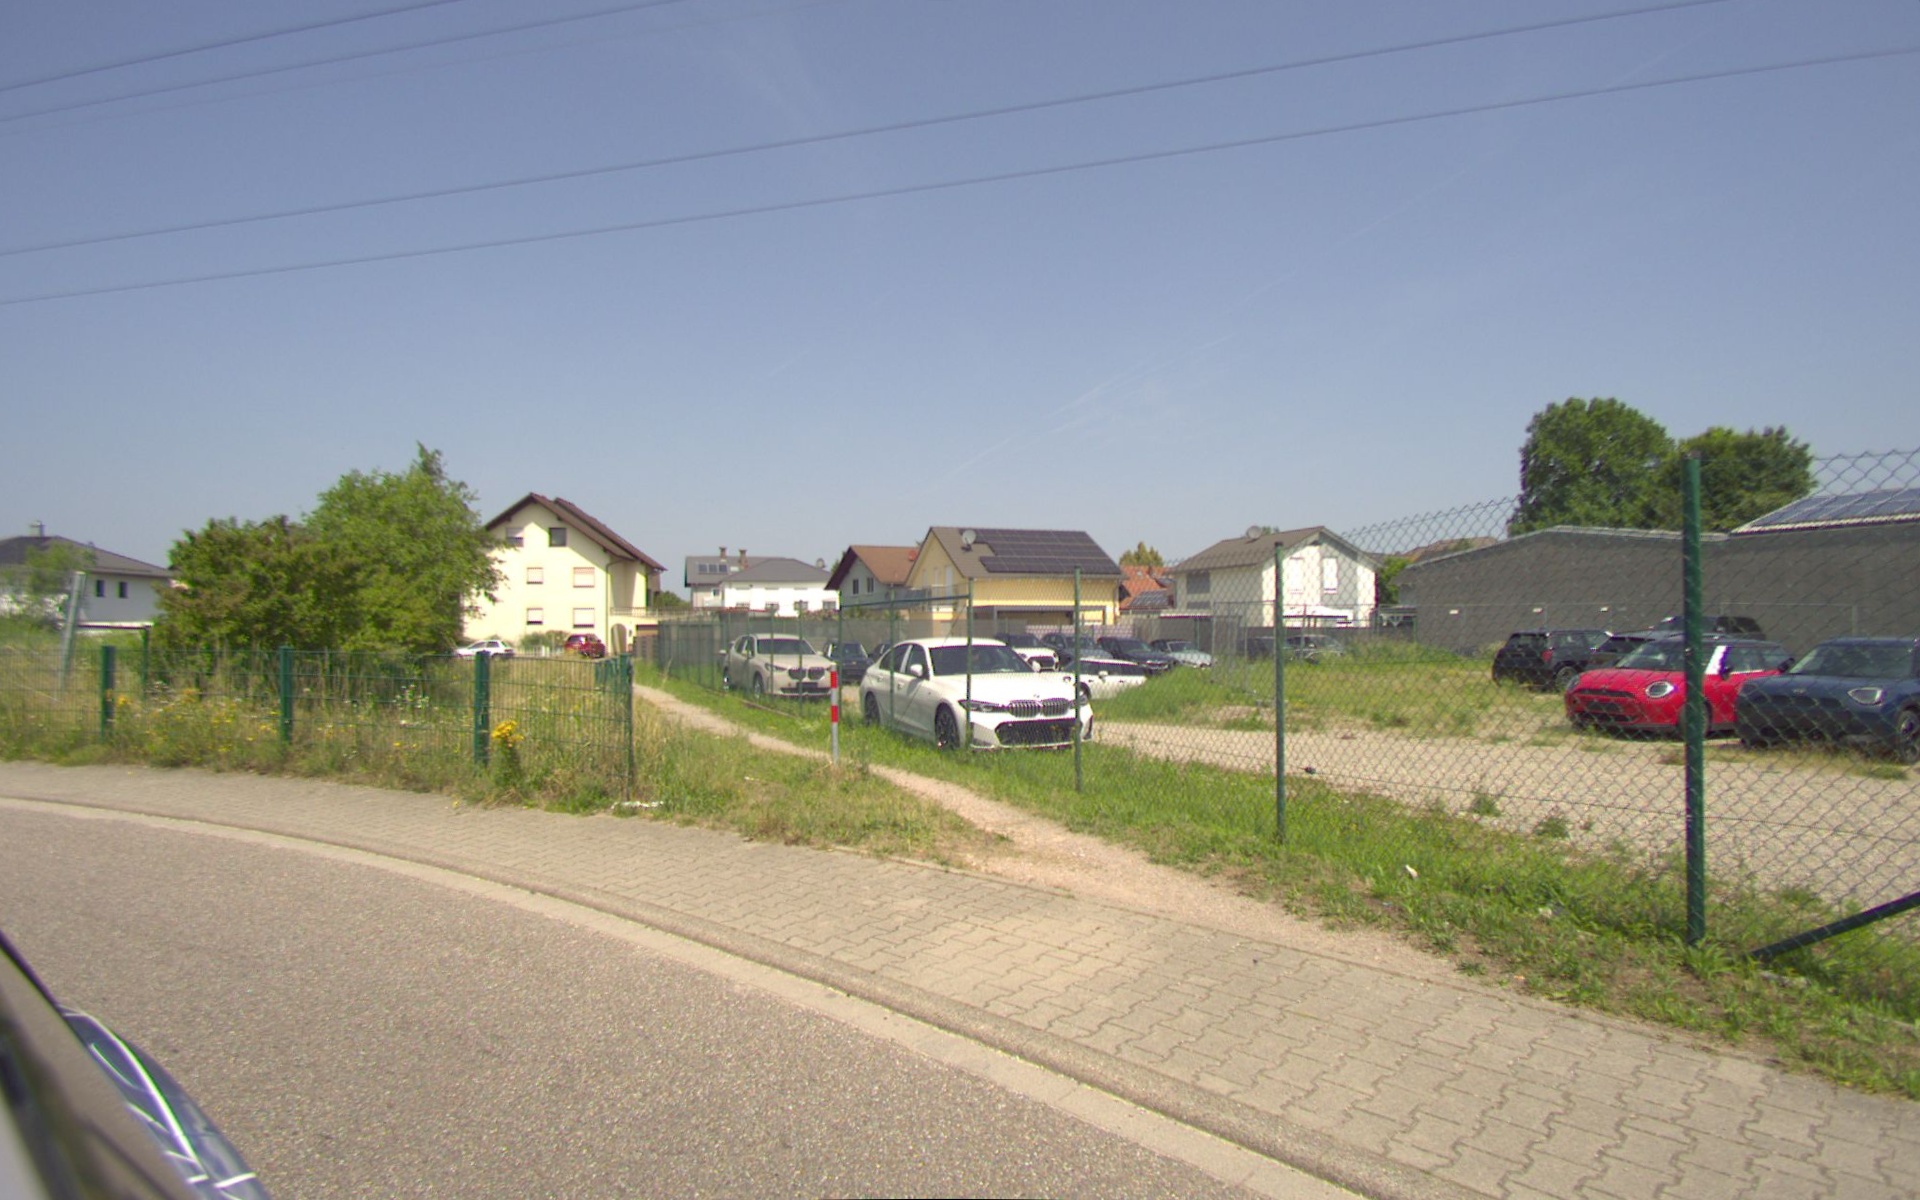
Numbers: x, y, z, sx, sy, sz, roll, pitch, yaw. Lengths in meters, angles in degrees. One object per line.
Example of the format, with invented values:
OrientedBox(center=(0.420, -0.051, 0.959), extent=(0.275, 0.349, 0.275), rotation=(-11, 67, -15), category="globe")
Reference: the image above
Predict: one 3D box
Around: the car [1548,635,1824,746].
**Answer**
OrientedBox(center=(10.848, 1.273, 15.159), extent=(3.381, 1.464, 1.875), rotation=(1, -2, -24), category="car")

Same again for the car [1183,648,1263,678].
OrientedBox(center=(12.078, 2.881, 46.676), extent=(1.763, 1.245, 3.620), rotation=(0, -2, -20), category="car")

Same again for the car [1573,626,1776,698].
OrientedBox(center=(14.231, 1.176, 20.172), extent=(3.381, 1.308, 1.875), rotation=(1, -2, -26), category="car")

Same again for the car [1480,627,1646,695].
OrientedBox(center=(13.830, 1.346, 23.191), extent=(3.382, 1.425, 1.874), rotation=(1, -2, -31), category="car")

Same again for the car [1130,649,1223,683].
OrientedBox(center=(9.064, 2.758, 42.742), extent=(1.763, 1.245, 4.148), rotation=(1, -2, -23), category="car")

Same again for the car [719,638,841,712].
OrientedBox(center=(-4.547, 1.755, 24.955), extent=(2.007, 1.574, 4.452), rotation=(1, -2, -23), category="car")

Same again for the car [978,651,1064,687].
OrientedBox(center=(2.381, 2.730, 40.492), extent=(1.763, 1.245, 4.148), rotation=(1, -2, -23), category="car")

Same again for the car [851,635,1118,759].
OrientedBox(center=(0.099, 1.153, 13.577), extent=(1.836, 1.317, 4.577), rotation=(1, -2, -23), category="car")

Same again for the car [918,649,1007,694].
OrientedBox(center=(0.018, 2.743, 39.568), extent=(2.007, 1.548, 4.148), rotation=(1, -2, -23), category="car")

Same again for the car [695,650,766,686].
OrientedBox(center=(-8.392, 2.426, 36.736), extent=(1.834, 1.116, 4.017), rotation=(1, -2, -23), category="car")

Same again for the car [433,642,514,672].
OrientedBox(center=(-29.622, 3.471, 61.724), extent=(4.022, 1.697, 1.867), rotation=(0, -2, -6), category="car")

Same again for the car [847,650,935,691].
OrientedBox(center=(-2.687, 2.613, 38.335), extent=(2.007, 1.353, 4.431), rotation=(1, -2, -23), category="car")

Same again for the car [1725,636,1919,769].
OrientedBox(center=(11.853, 1.193, 12.853), extent=(3.585, 1.444, 1.875), rotation=(1, -2, -24), category="car")

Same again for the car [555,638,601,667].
OrientedBox(center=(-24.967, 3.408, 66.241), extent=(1.838, 1.741, 4.141), rotation=(0, -1, -6), category="car")

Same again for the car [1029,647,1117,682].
OrientedBox(center=(4.556, 2.601, 41.347), extent=(1.763, 1.245, 4.148), rotation=(1, -2, -23), category="car")

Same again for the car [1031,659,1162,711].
OrientedBox(center=(3.894, 2.404, 29.028), extent=(3.332, 1.325, 1.664), rotation=(1, -2, -22), category="car")
